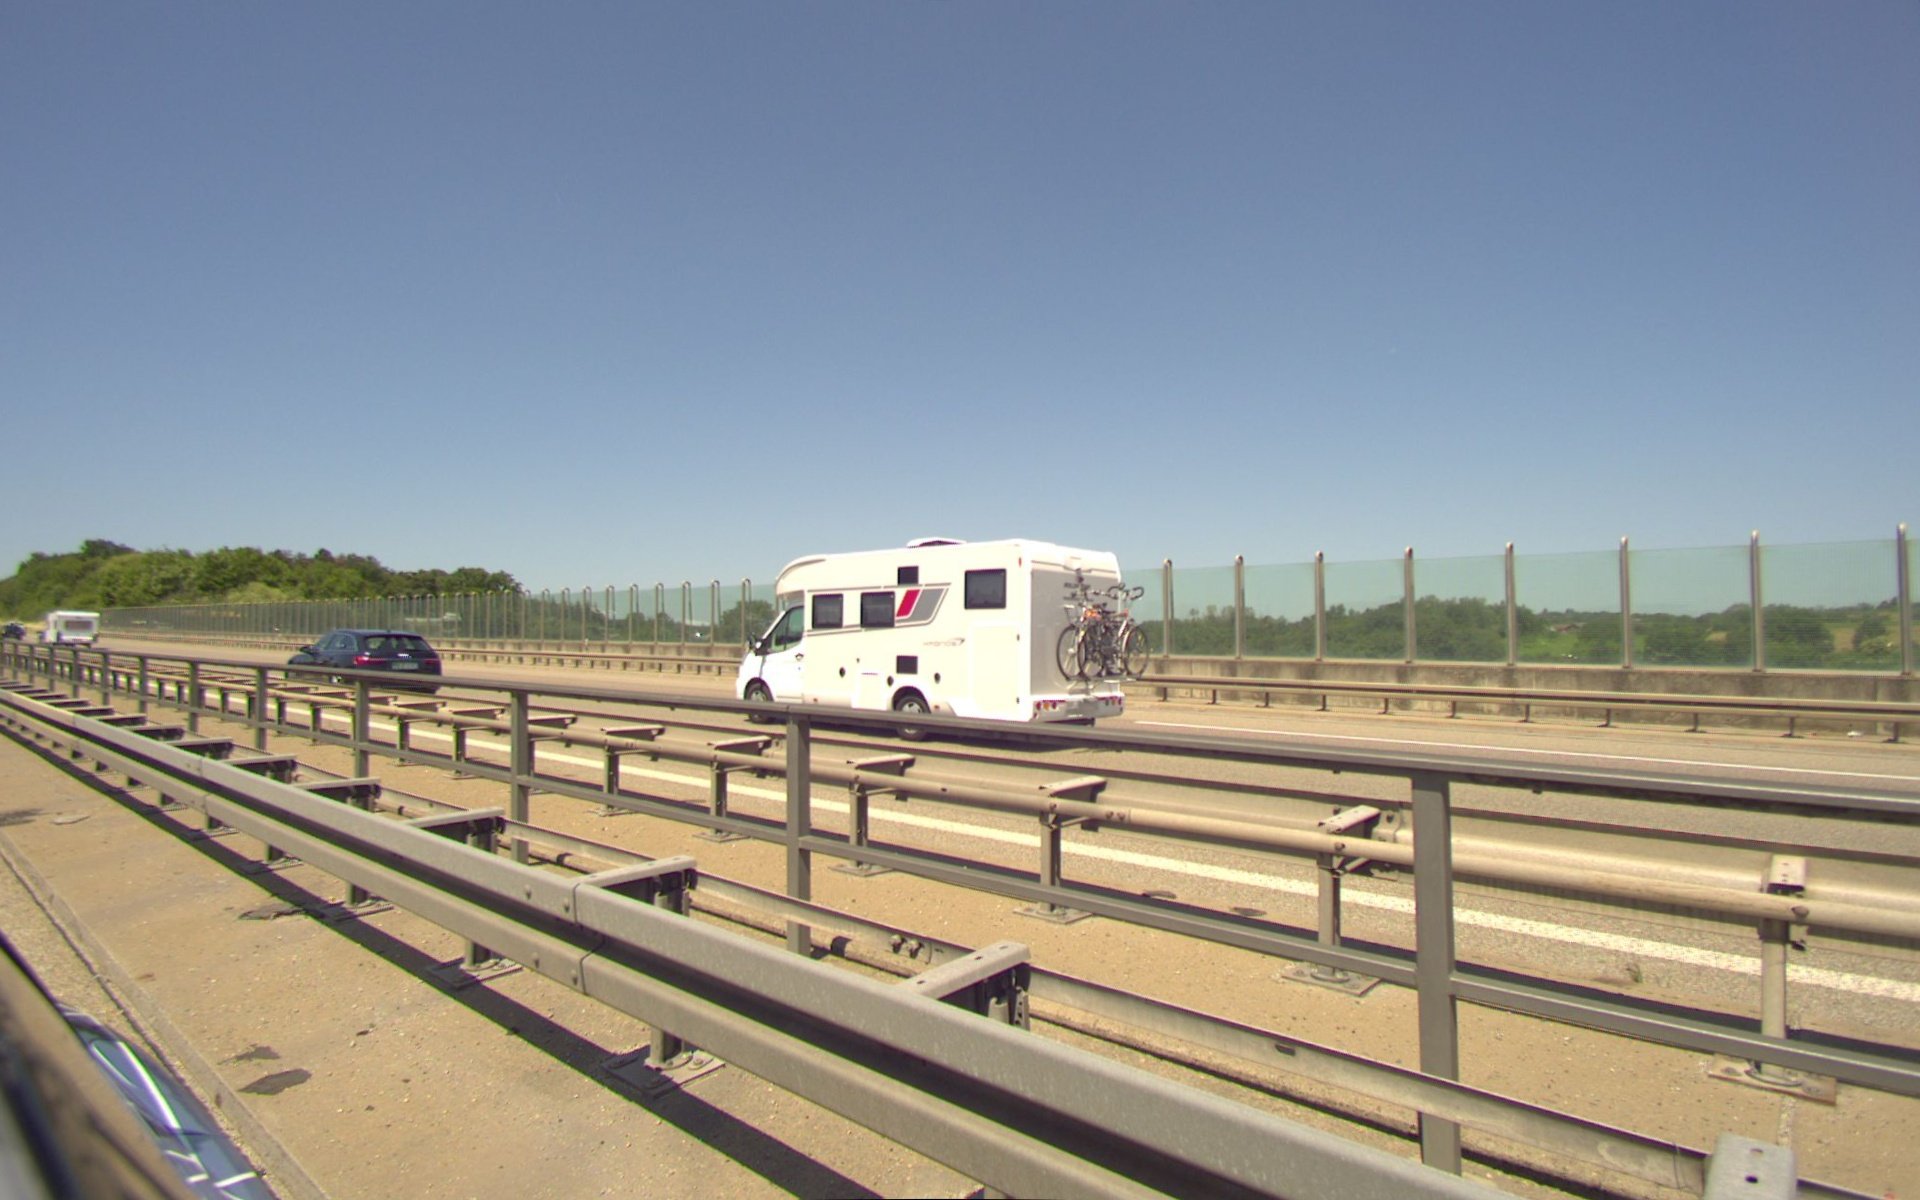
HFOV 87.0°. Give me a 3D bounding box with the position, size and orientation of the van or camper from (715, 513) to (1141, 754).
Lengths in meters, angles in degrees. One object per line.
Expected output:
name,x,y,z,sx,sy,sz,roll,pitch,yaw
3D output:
van or camper,-0.790,0.549,16.038,7.023,3.047,2.397,-2,-4,41

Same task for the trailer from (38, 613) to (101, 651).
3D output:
trailer,-63.386,2.314,71.982,6.771,2.569,2.467,-2,-4,41

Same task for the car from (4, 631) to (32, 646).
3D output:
car,-122.628,4.994,131.699,5.252,1.899,1.973,-2,-4,41

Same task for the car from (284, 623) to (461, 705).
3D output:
car,-12.406,1.318,21.254,4.422,1.543,1.848,-2,-5,41

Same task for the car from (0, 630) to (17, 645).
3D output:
car,-94.734,3.694,99.979,4.417,1.503,1.712,-2,-4,41
